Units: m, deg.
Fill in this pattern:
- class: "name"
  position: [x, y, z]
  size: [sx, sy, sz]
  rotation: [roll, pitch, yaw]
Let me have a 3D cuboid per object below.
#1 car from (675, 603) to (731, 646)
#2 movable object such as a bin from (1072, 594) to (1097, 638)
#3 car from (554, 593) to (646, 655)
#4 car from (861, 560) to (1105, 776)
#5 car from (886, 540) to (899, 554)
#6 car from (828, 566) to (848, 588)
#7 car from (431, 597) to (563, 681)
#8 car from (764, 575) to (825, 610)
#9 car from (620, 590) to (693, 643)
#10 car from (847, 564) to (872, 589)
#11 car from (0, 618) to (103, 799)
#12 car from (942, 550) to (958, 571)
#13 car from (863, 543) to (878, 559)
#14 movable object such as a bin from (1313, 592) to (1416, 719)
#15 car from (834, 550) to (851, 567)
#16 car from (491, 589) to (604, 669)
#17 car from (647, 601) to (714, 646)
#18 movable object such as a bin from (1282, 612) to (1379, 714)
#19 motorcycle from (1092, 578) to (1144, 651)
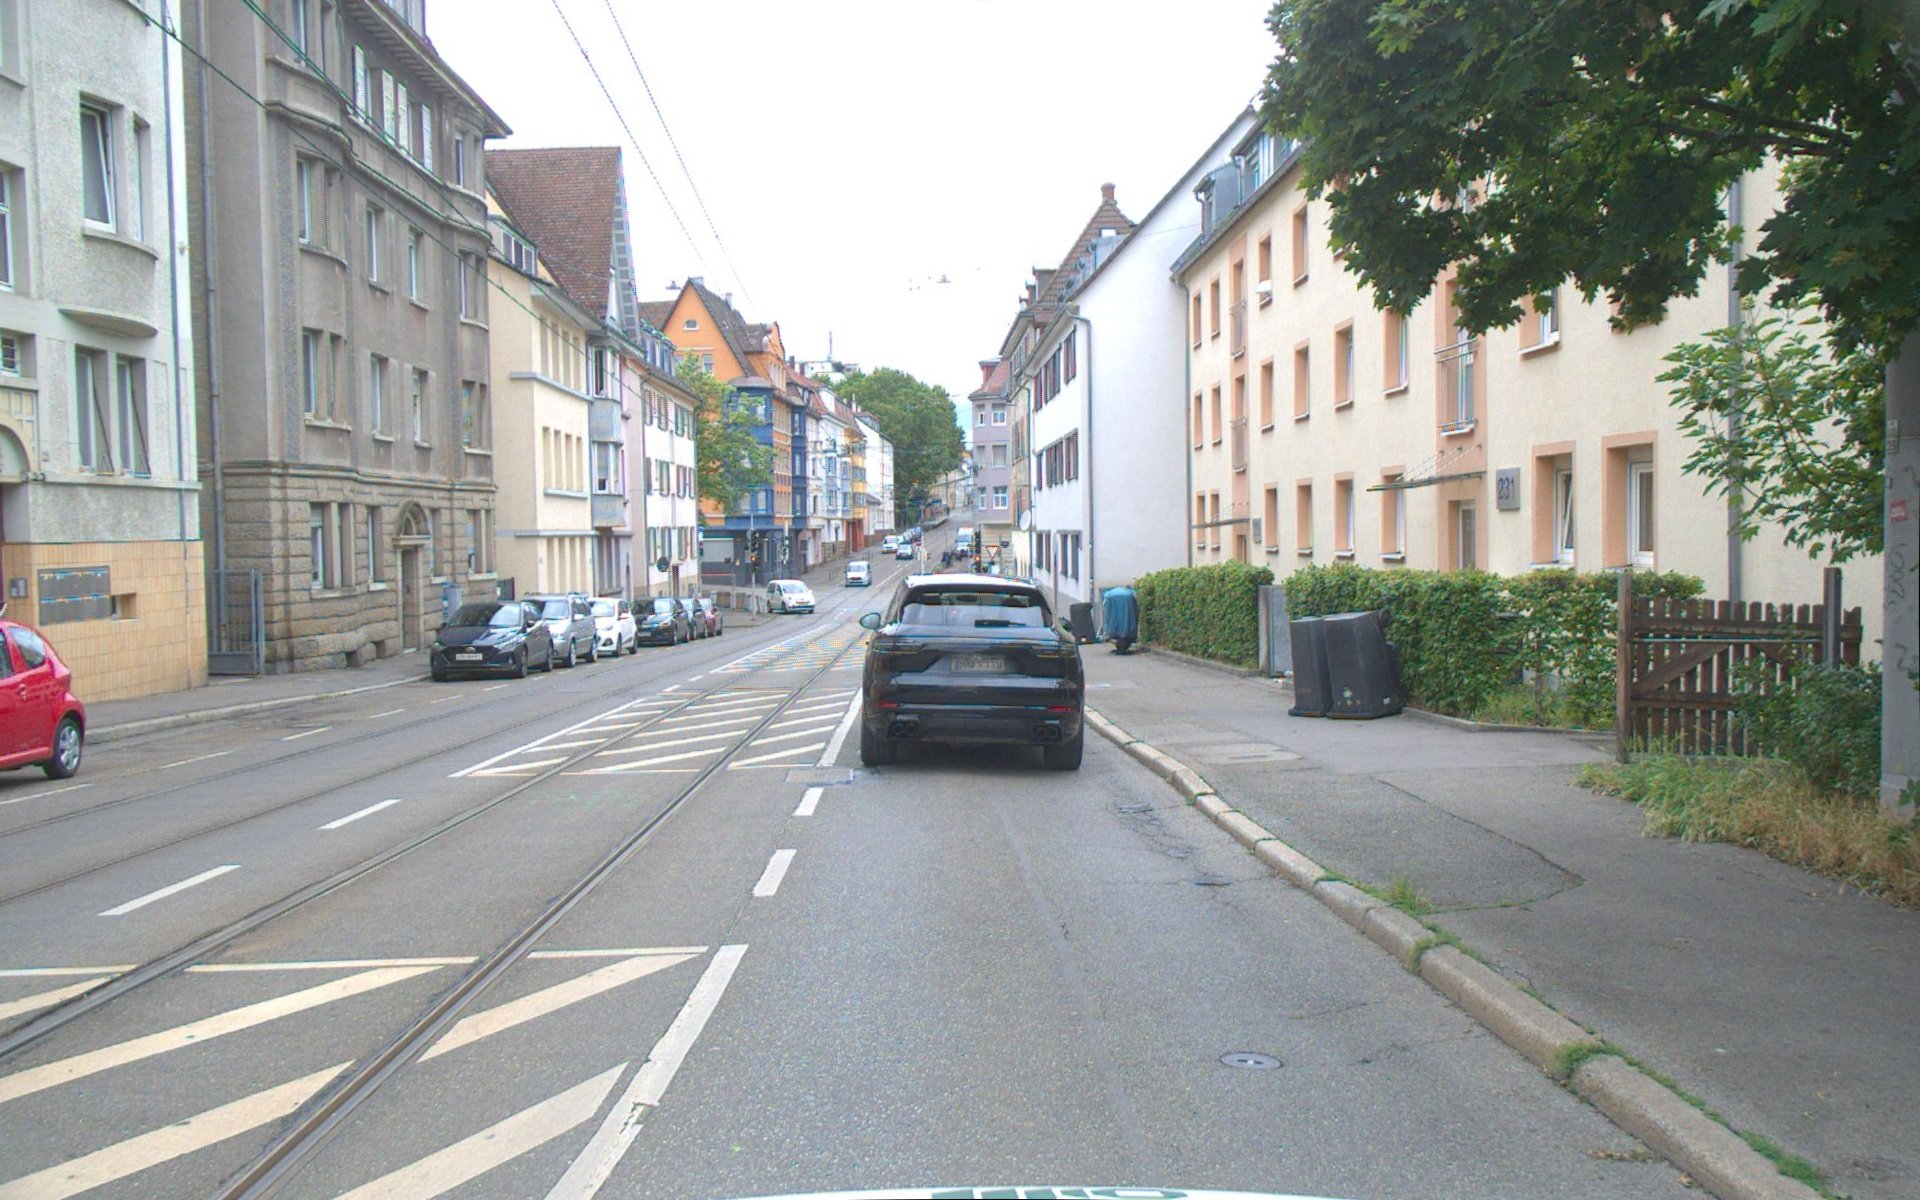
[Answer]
- class: "car"
  position: [-9.754, 0.943, 62.997]
  size: [1.588, 1.516, 4.045]
  rotation: [-2, -1, -3]
- class: "movable object such as a bin"
  position: [3.200, 0.403, 42.469]
  size: [0.576, 1.099, 0.692]
  rotation: [-1, 0, 0]
- class: "car"
  position: [-9.344, 0.619, 43.145]
  size: [1.588, 1.489, 3.684]
  rotation: [-2, -1, -1]
- class: "car"
  position: [0.131, 0.553, 15.466]
  size: [1.953, 1.705, 3.998]
  rotation: [-1, 0, -2]
- class: "car"
  position: [-7.618, -6.007, 187.118]
  size: [1.366, 1.476, 3.358]
  rotation: [-1, 0, -1]
- class: "car"
  position: [-10.091, -1.911, 136.596]
  size: [1.366, 1.752, 3.358]
  rotation: [-1, 0, -1]
- class: "car"
  position: [-9.046, 0.749, 32.615]
  size: [1.588, 1.488, 4.030]
  rotation: [-2, -1, -3]
- class: "car"
  position: [-9.196, -0.401, 91.533]
  size: [1.900, 1.850, 4.177]
  rotation: [-1, 0, -28]
- class: "car"
  position: [-9.370, 0.524, 51.380]
  size: [1.588, 1.499, 4.553]
  rotation: [-2, -1, -3]
- class: "car"
  position: [-7.755, -1.788, 127.806]
  size: [1.715, 1.790, 4.253]
  rotation: [-1, 0, -1]
- class: "car"
  position: [-8.721, 0.926, 13.659]
  size: [1.589, 1.489, 3.741]
  rotation: [-2, -1, -5]
- class: "car"
  position: [-0.901, -3.570, 150.021]
  size: [1.366, 1.752, 3.358]
  rotation: [-1, 0, -1]
- class: "car"
  position: [-9.212, -5.059, 171.017]
  size: [1.366, 1.476, 3.358]
  rotation: [-1, 0, -1]
- class: "movable object such as a bin"
  position: [4.077, 0.547, 16.715]
  size: [0.776, 1.239, 0.788]
  rotation: [-1, 0, -5]
- class: "car"
  position: [-10.626, -3.735, 149.543]
  size: [1.366, 1.476, 3.358]
  rotation: [-1, 0, -1]
- class: "car"
  position: [-9.168, 0.639, 37.071]
  size: [1.588, 1.632, 4.348]
  rotation: [-2, -1, -3]
- class: "car"
  position: [-9.627, 0.789, 57.237]
  size: [1.701, 1.435, 3.999]
  rotation: [-1, 0, -1]
- class: "movable object such as a bin"
  position: [3.911, 0.658, 17.509]
  size: [0.776, 1.029, 0.788]
  rotation: [-1, 0, -5]
- class: "motorcycle"
  position: [3.375, 0.304, 35.598]
  size: [0.821, 1.482, 2.552]
  rotation: [-1, 0, -1]
